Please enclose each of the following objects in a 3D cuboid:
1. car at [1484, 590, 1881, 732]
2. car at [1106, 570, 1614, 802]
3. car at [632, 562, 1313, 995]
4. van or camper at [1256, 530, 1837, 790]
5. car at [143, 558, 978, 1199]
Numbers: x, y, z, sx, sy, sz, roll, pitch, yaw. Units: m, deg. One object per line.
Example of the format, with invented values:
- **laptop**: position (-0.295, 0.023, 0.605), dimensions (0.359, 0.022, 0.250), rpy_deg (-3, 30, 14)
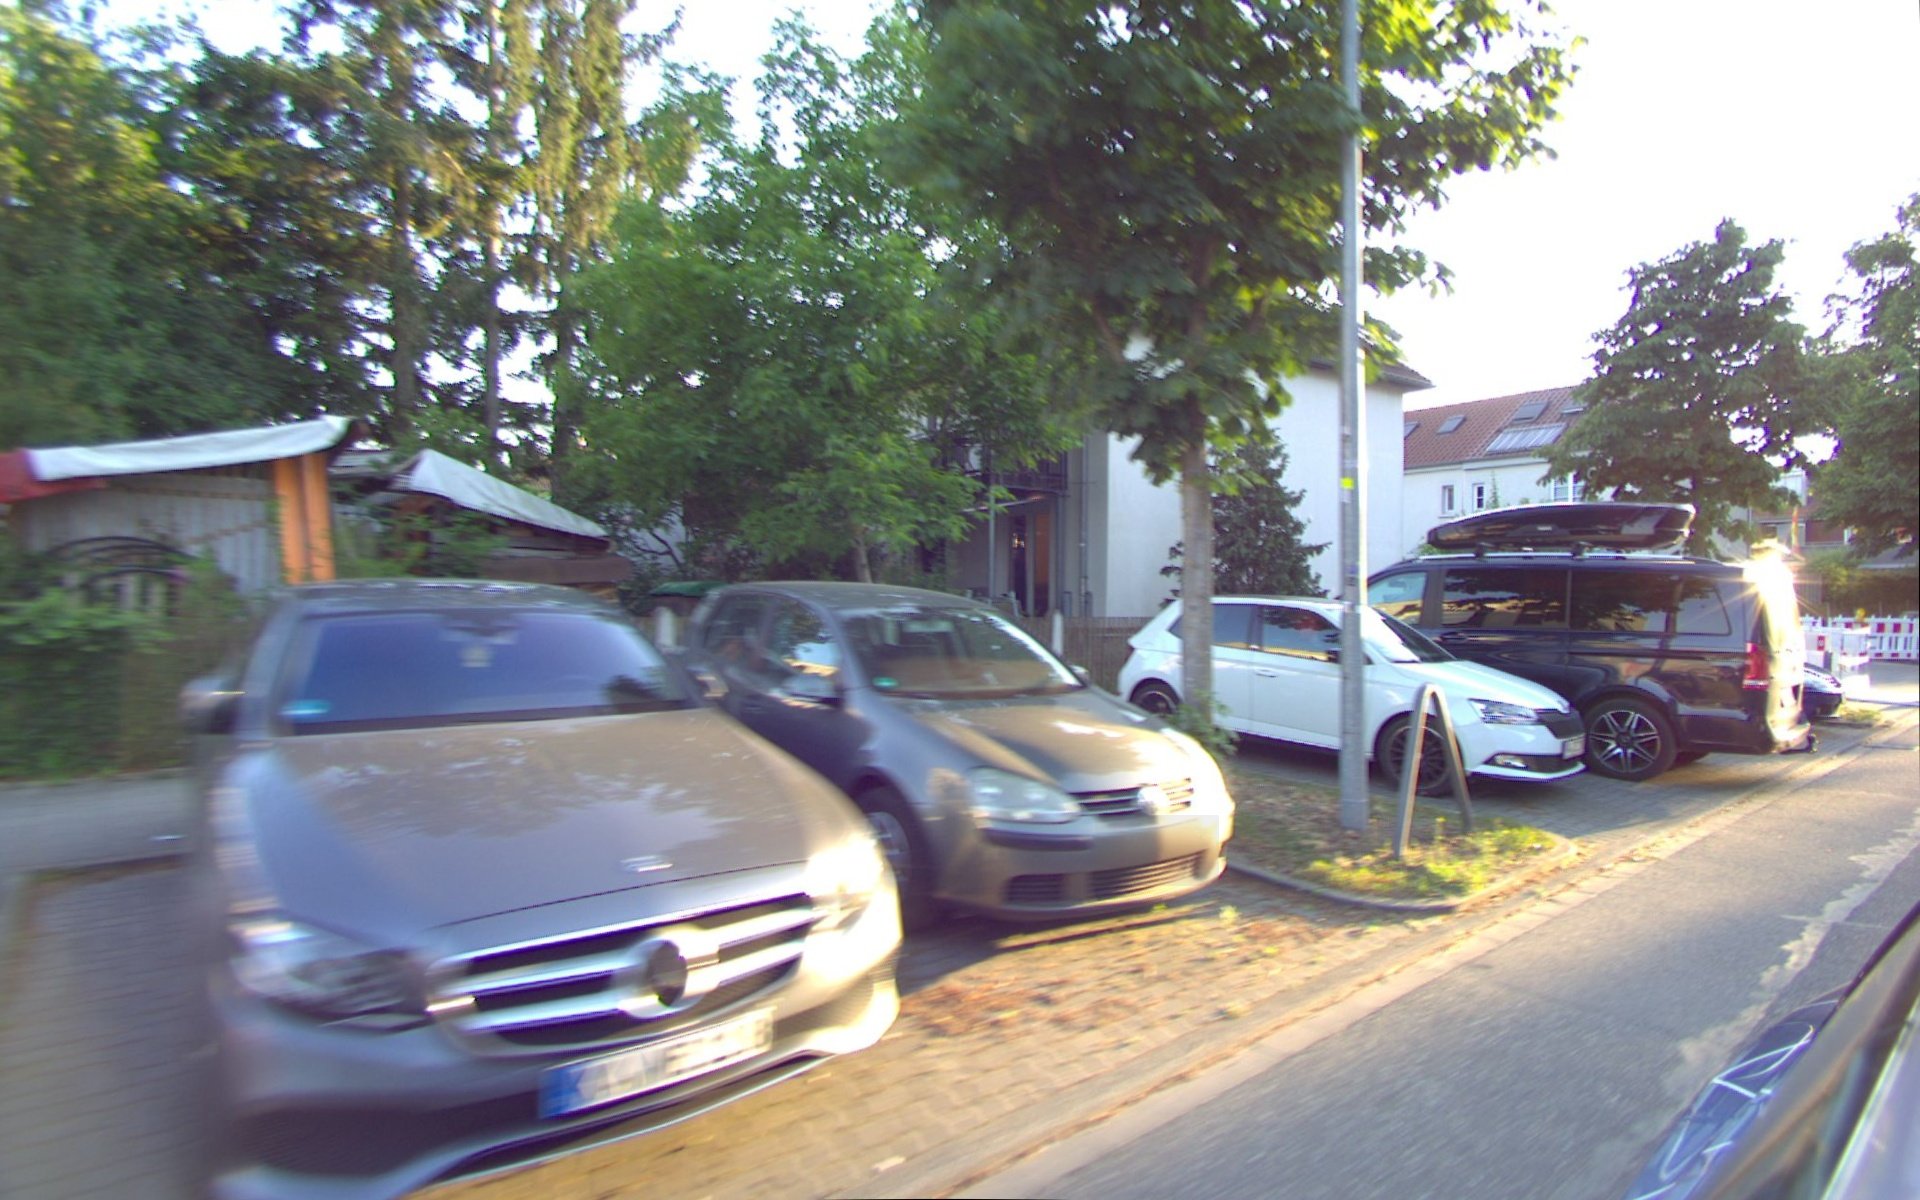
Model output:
- **car**: position (9.404, 0.662, 13.449), dimensions (1.761, 1.580, 3.996), rpy_deg (0, 1, -39)
- **car**: position (3.253, 0.557, 8.828), dimensions (1.600, 1.563, 3.839), rpy_deg (0, 1, -40)
- **car**: position (-0.308, 0.572, 5.724), dimensions (1.737, 1.520, 4.068), rpy_deg (1, 1, -36)
- **van or camper**: position (5.573, 0.431, 10.129), dimensions (2.059, 1.978, 4.653), rpy_deg (0, 0, -42)
- **car**: position (-2.110, 0.566, 4.126), dimensions (1.737, 1.415, 4.832), rpy_deg (1, 1, -37)
